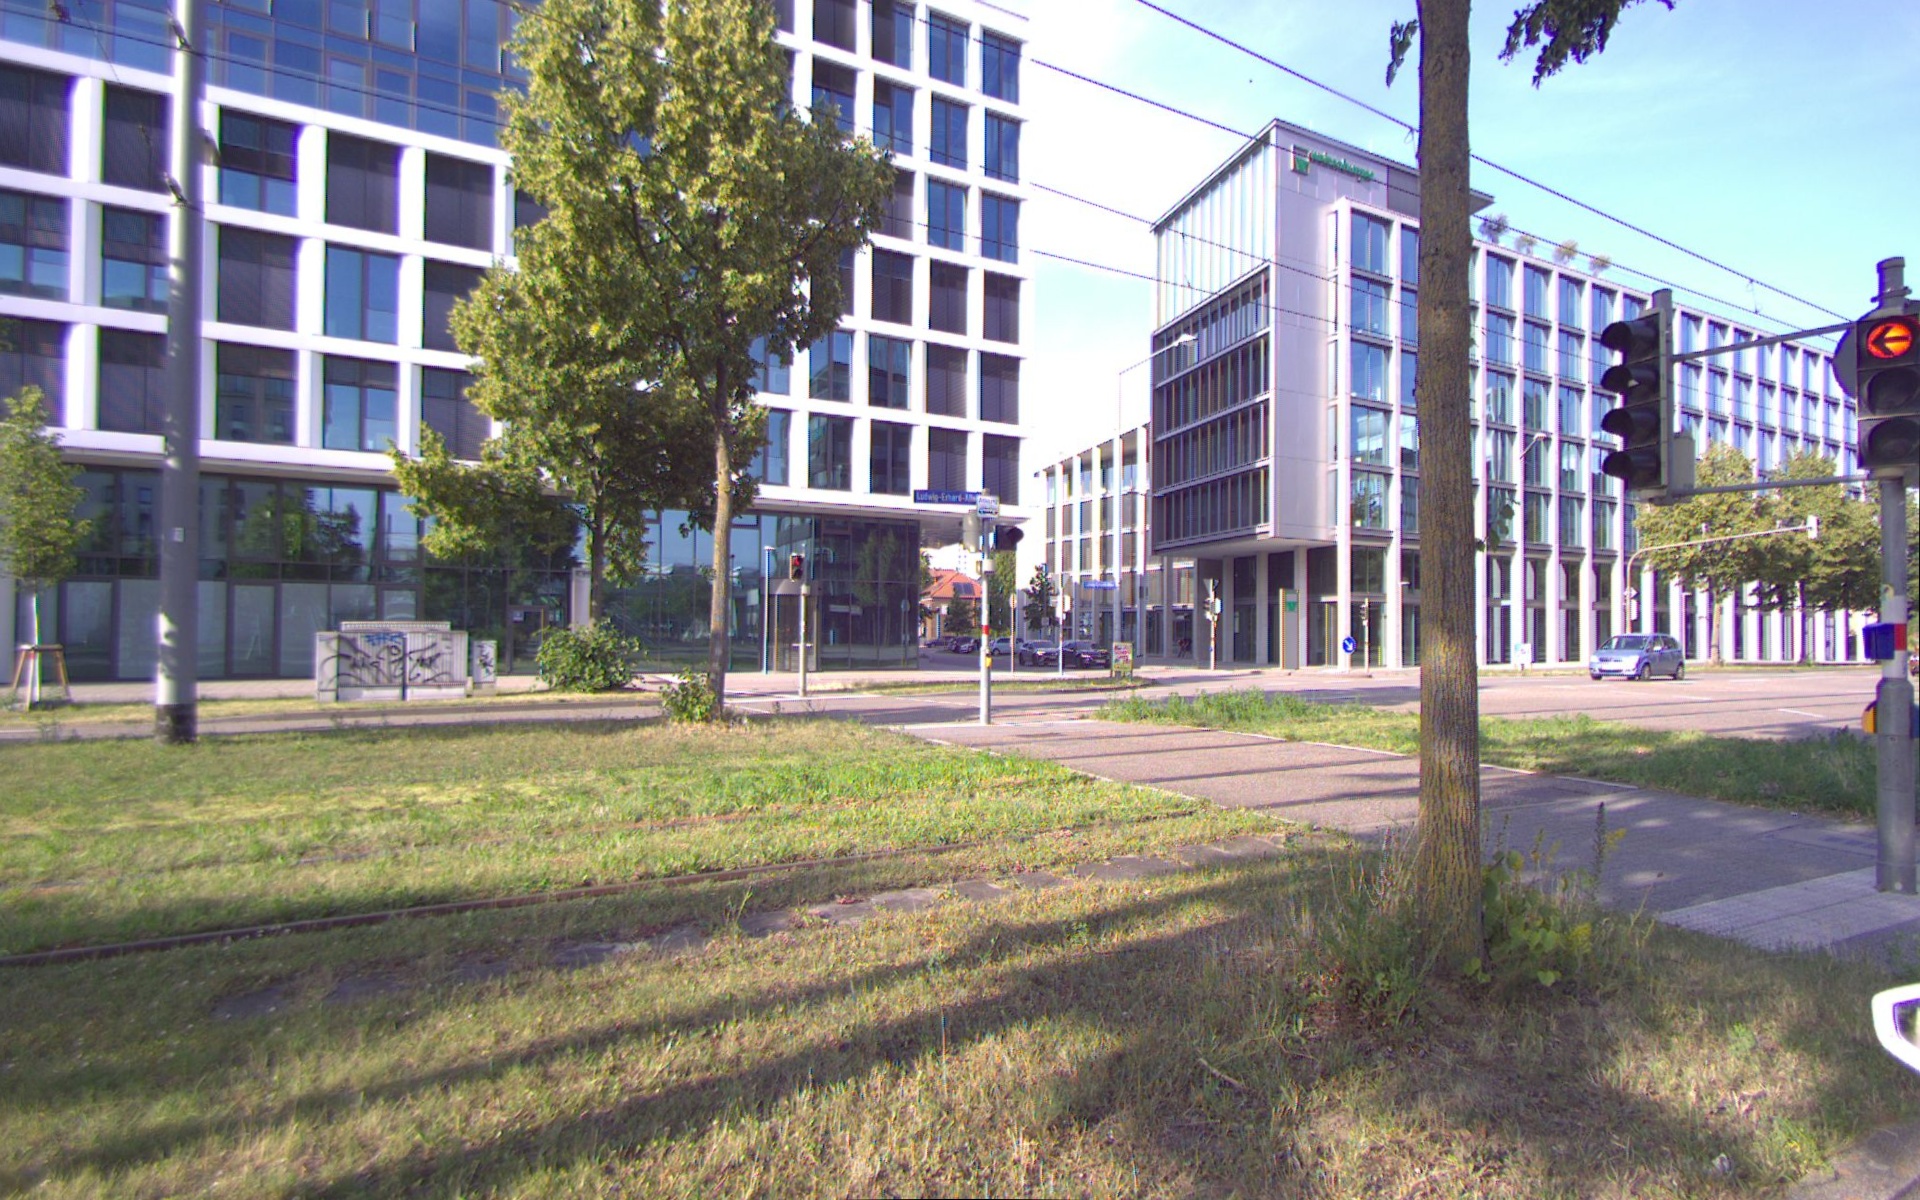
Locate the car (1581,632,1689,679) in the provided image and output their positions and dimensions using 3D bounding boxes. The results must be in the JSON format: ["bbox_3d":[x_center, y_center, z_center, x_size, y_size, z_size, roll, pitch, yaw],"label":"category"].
[{"bbox_3d":[23.031,1.875,34.246,3.913,1.462,1.629,2,0,-33],"label":"car"}]

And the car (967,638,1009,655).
[{"bbox_3d":[2.581,4.343,93.335,3.614,1.416,1.550,2,0,-14],"label":"car"}]

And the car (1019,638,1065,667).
[{"bbox_3d":[4.696,3.015,58.105,1.549,1.443,3.668,2,0,-14],"label":"car"}]

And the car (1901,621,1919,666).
[{"bbox_3d":[40.359,1.812,41.183,3.841,1.799,1.674,2,0,-33],"label":"car"}]

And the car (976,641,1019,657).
[{"bbox_3d":[3.359,4.372,89.542,3.535,1.313,1.524,2,0,-14],"label":"car"}]

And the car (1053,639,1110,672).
[{"bbox_3d":[6.169,2.797,51.264,1.551,1.443,3.498,2,0,-19],"label":"car"}]

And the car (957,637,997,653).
[{"bbox_3d":[1.648,4.331,96.684,3.614,1.416,1.550,2,0,-14],"label":"car"}]

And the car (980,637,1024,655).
[{"bbox_3d":[3.596,3.940,86.579,3.535,1.417,1.524,2,0,-14],"label":"car"}]
